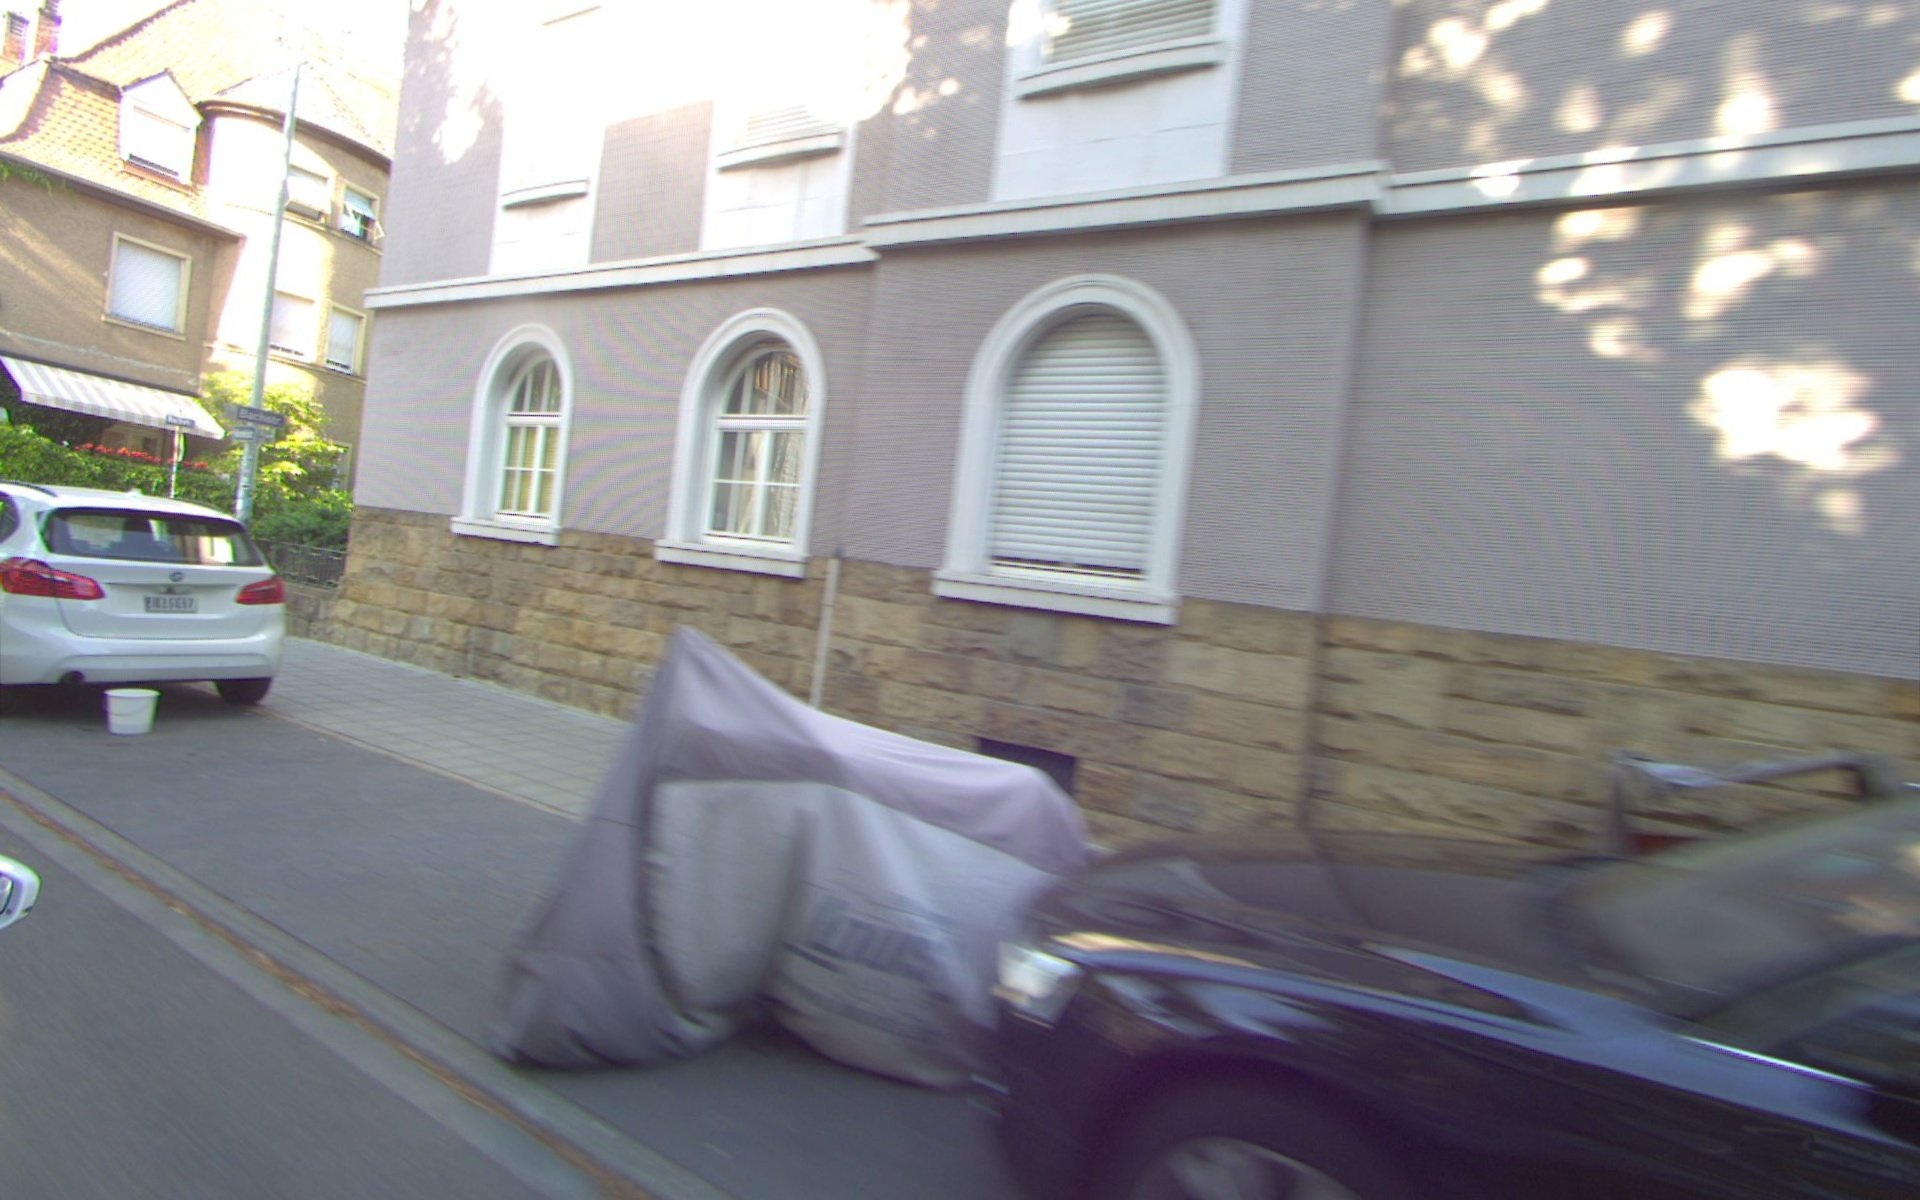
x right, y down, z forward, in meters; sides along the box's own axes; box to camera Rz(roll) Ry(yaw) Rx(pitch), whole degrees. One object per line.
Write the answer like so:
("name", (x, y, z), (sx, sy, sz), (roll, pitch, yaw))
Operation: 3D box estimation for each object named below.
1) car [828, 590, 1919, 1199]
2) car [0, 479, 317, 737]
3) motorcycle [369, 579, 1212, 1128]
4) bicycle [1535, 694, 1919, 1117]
("car", (2.138, 0.999, 1.878), (4.533, 1.512, 1.855), (7, 1, 33))
("car", (-7.099, -0.114, 7.935), (4.085, 1.560, 1.700), (7, 2, 31))
("motorcycle", (-0.463, 0.790, 3.243), (2.169, 1.354, 0.918), (10, -1, -18))
("bicycle", (3.767, 1.246, 4.209), (2.212, 1.354, 1.083), (7, 1, 31))
